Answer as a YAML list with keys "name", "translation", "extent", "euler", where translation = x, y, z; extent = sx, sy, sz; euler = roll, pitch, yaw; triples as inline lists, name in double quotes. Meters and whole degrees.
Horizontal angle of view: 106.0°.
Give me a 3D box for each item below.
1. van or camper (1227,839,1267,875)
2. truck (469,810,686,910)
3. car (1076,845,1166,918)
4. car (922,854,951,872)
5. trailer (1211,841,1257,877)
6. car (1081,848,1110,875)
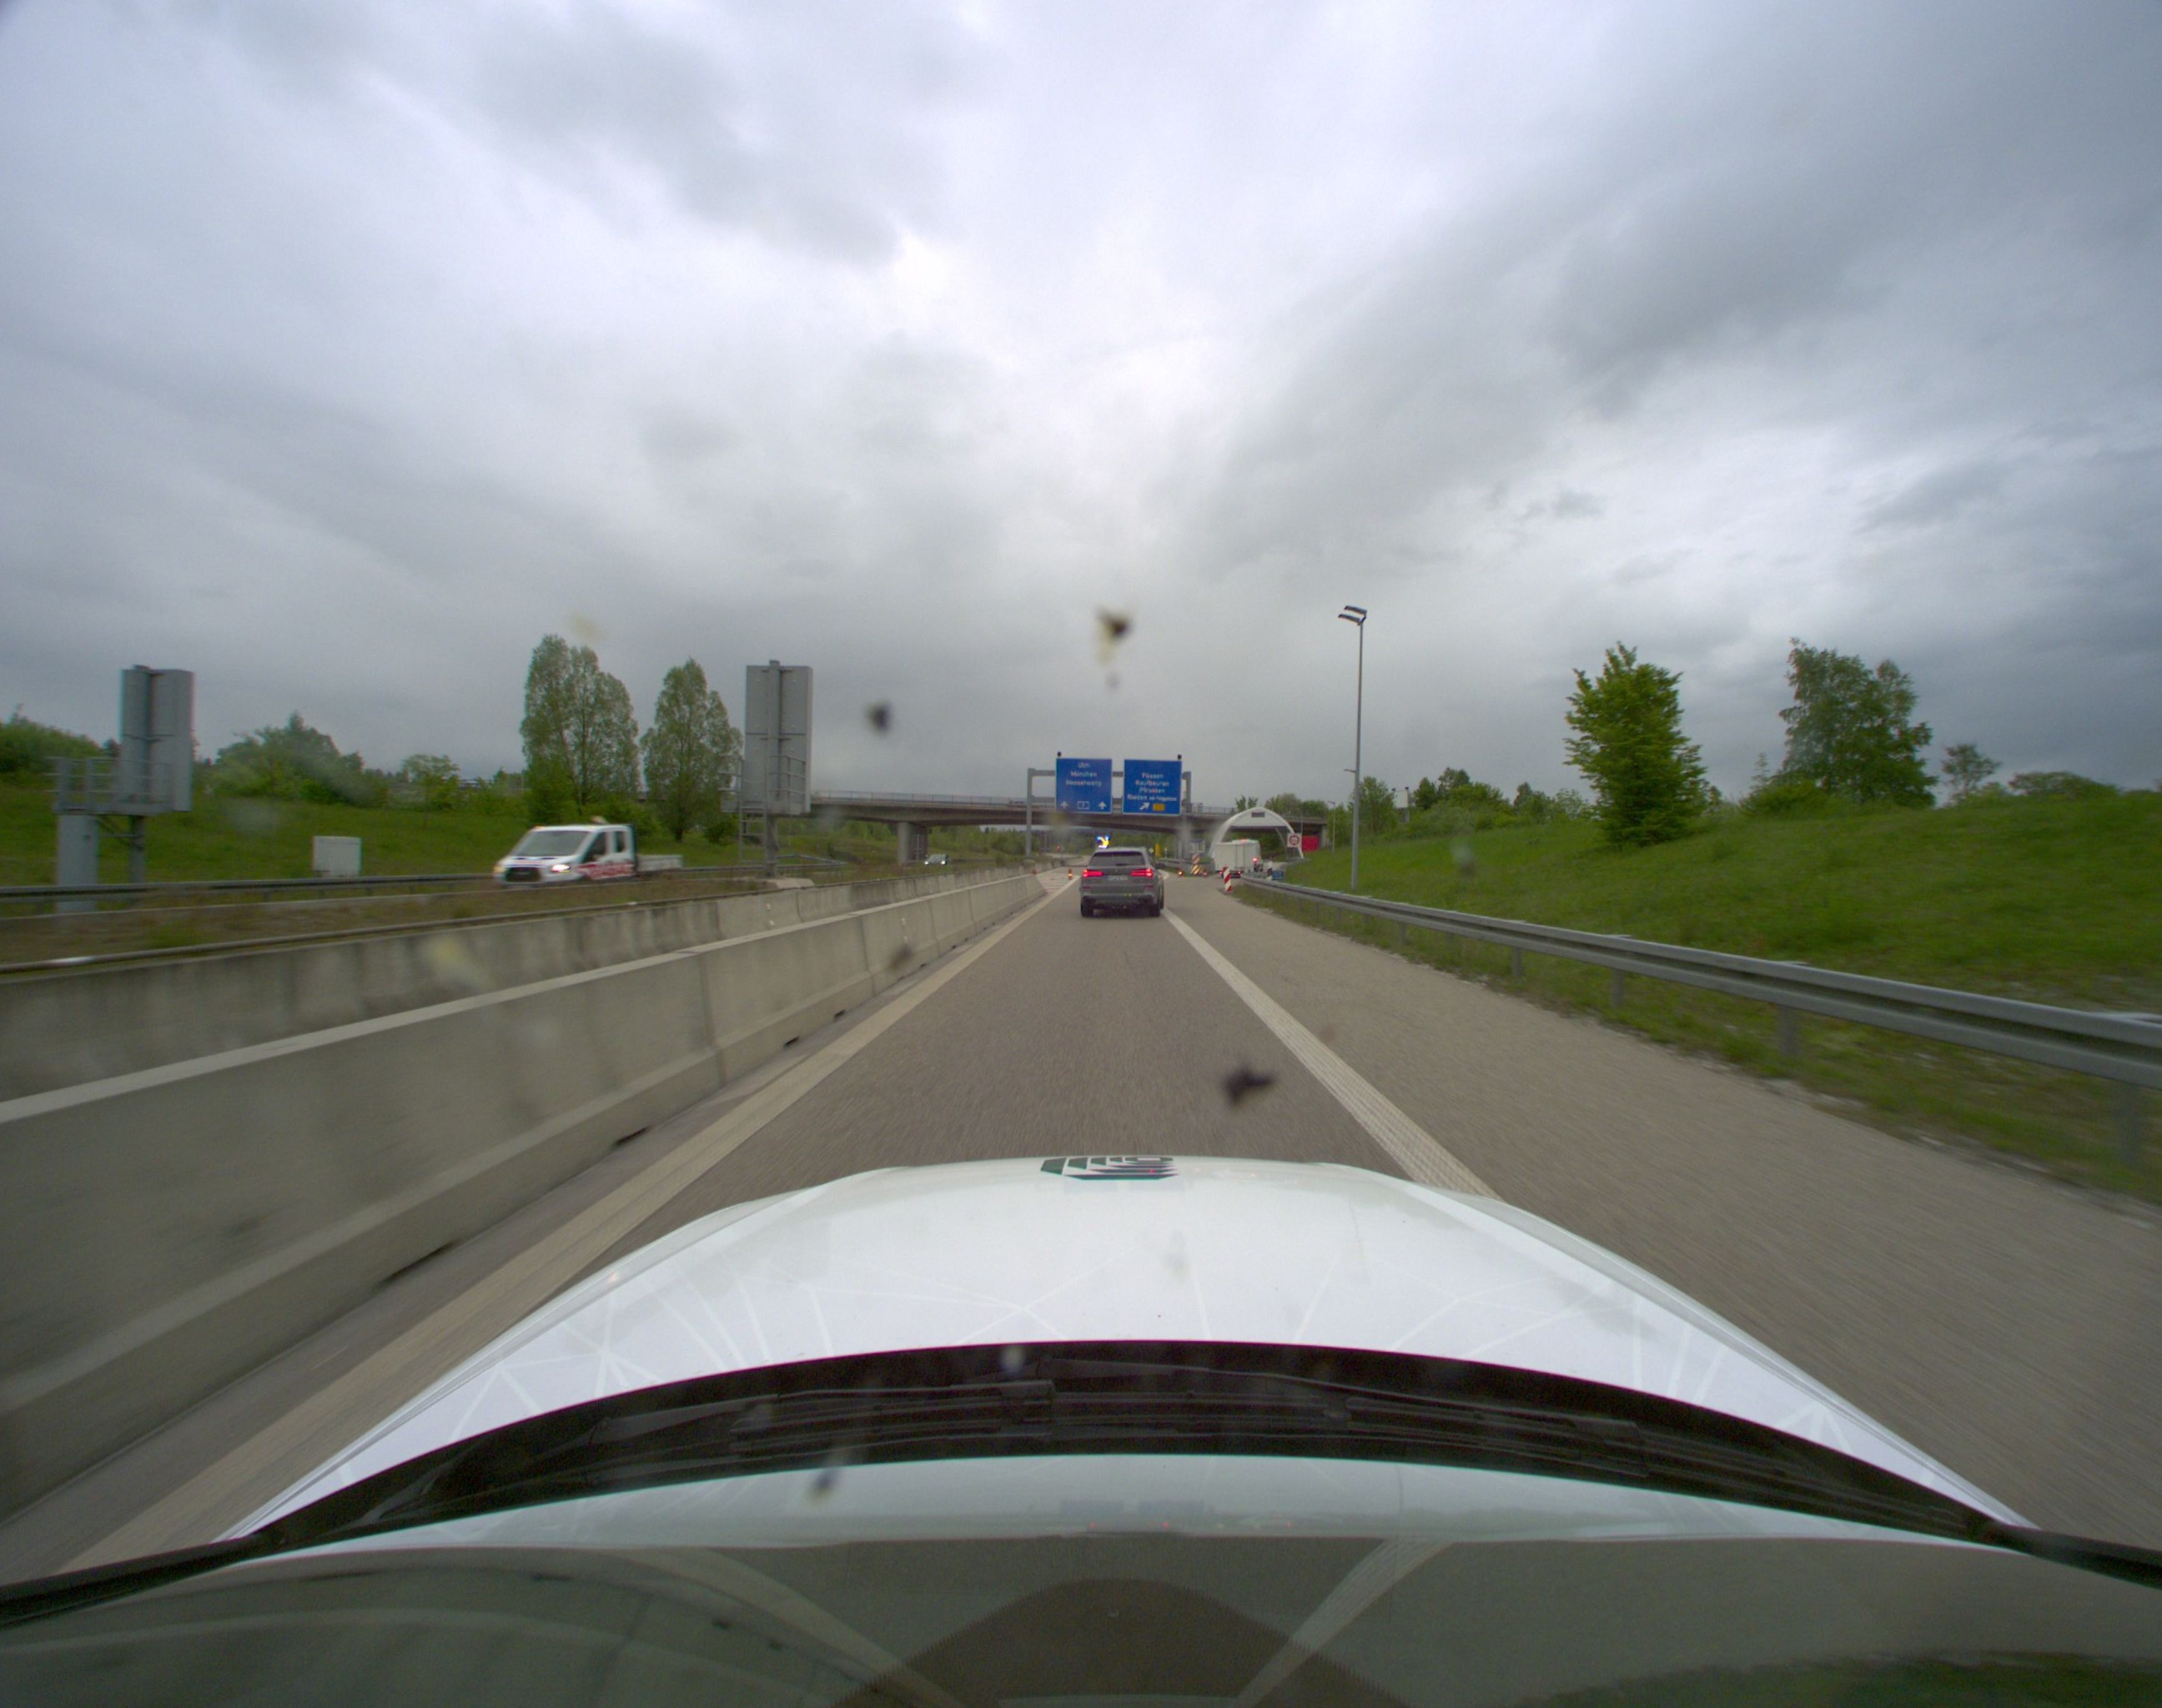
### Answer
- name: "van or camper"
  translation: [13.269, 0.260, 64.835]
  extent: [2.138, 2.763, 5.902]
  euler: [-1, -1, 21]
- name: "truck"
  translation: [-14.017, 0.152, 23.331]
  extent: [2.348, 2.479, 5.990]
  euler: [0, 0, 1]
- name: "car"
  translation: [1.149, 0.669, 21.372]
  extent: [1.982, 1.719, 4.009]
  euler: [-1, 0, 8]
- name: "car"
  translation: [-12.262, 0.757, 69.276]
  extent: [1.601, 1.500, 3.839]
  euler: [0, 0, 1]
- name: "trailer"
  translation: [11.158, 0.377, 58.844]
  extent: [2.260, 2.430, 6.850]
  euler: [-1, -1, 19]
- name: "car"
  translation: [1.144, 0.563, 64.999]
  extent: [2.278, 2.013, 5.050]
  euler: [0, 0, 1]
